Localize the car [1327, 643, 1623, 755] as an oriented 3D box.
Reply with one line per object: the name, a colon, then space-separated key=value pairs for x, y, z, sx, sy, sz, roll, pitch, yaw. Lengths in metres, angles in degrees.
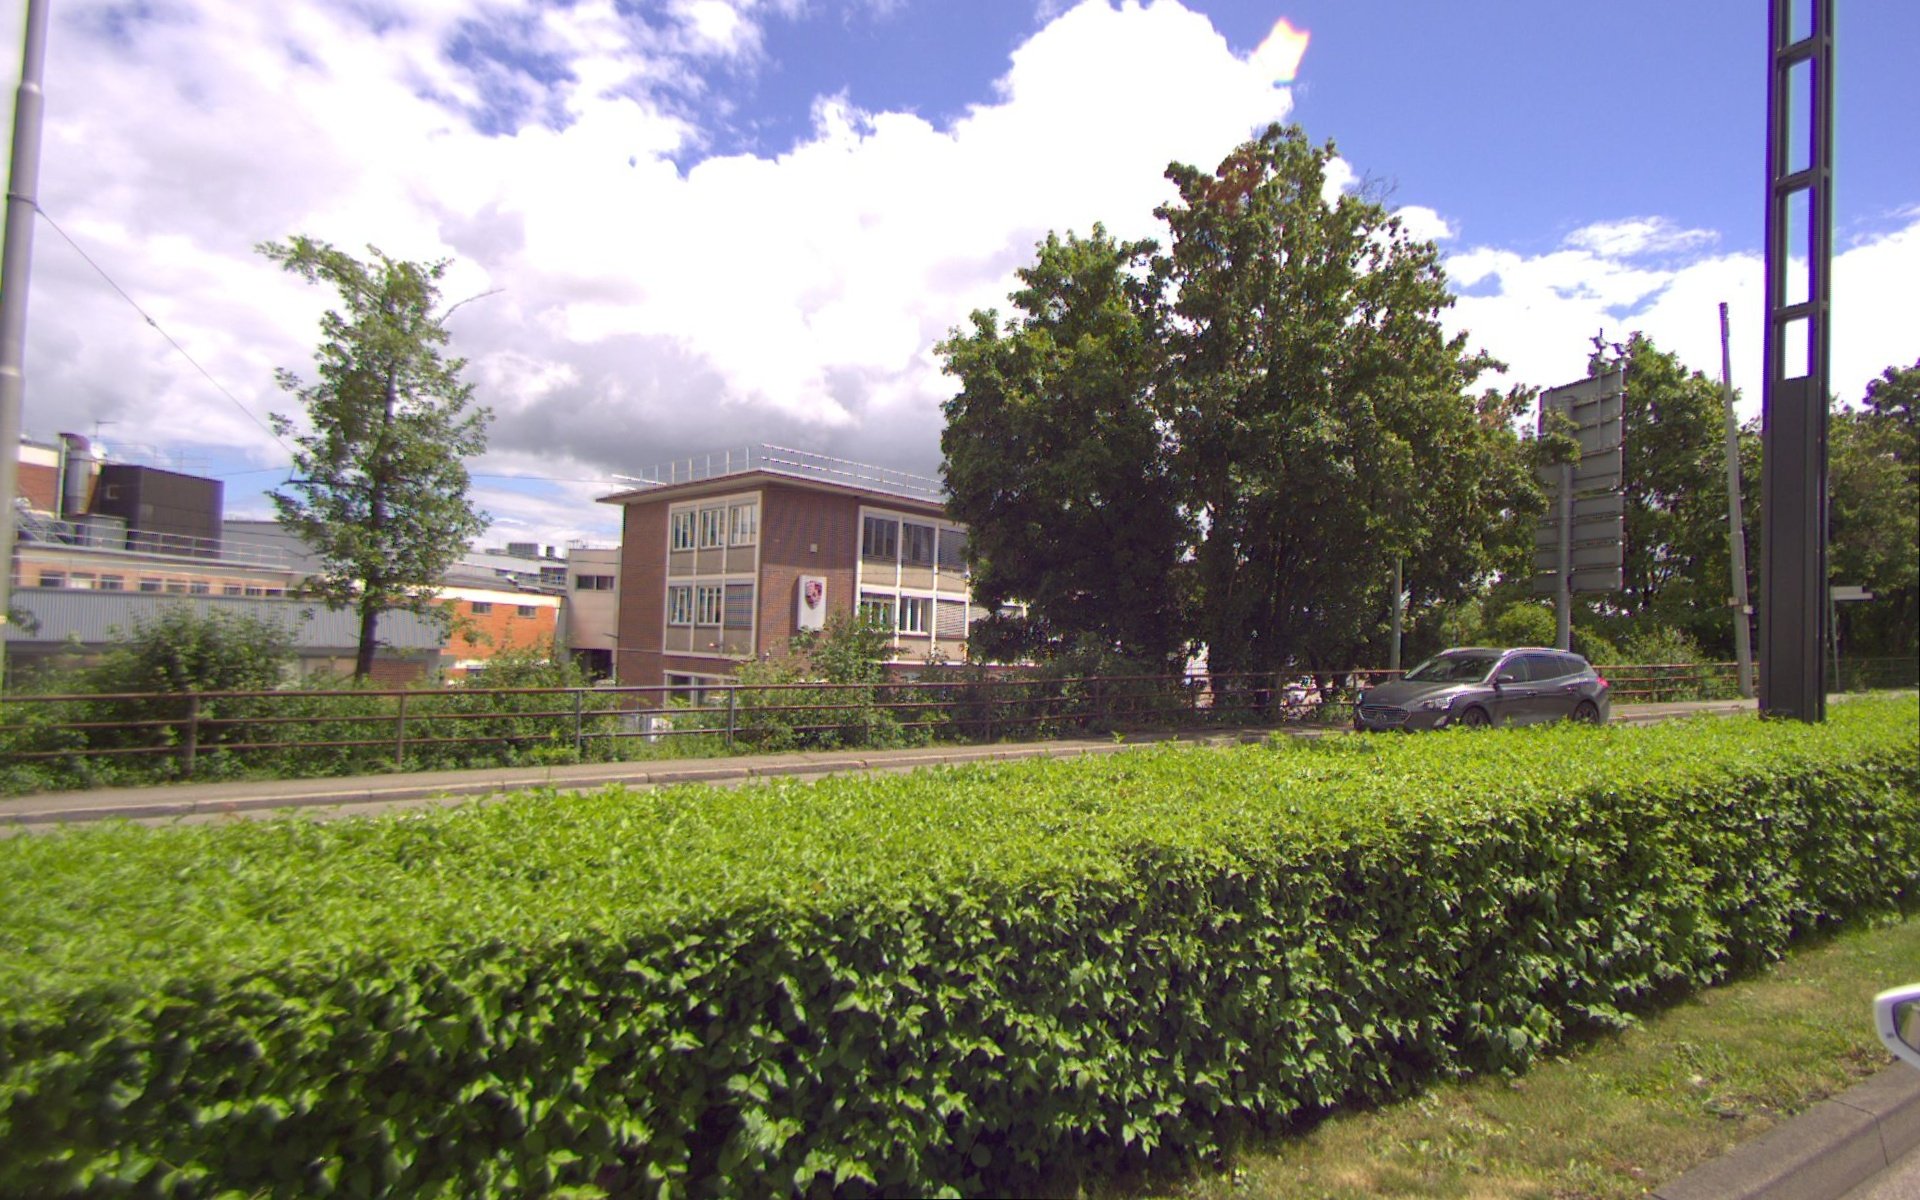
car: x=8.075 y=1.435 z=15.697 sx=4.502 sy=1.527 sz=1.833 roll=1 pitch=-2 yaw=-27

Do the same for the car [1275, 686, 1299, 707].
car: x=28.400 y=8.369 z=87.137 sx=1.686 sy=1.547 sz=3.761 roll=-1 pitch=-2 yaw=22
